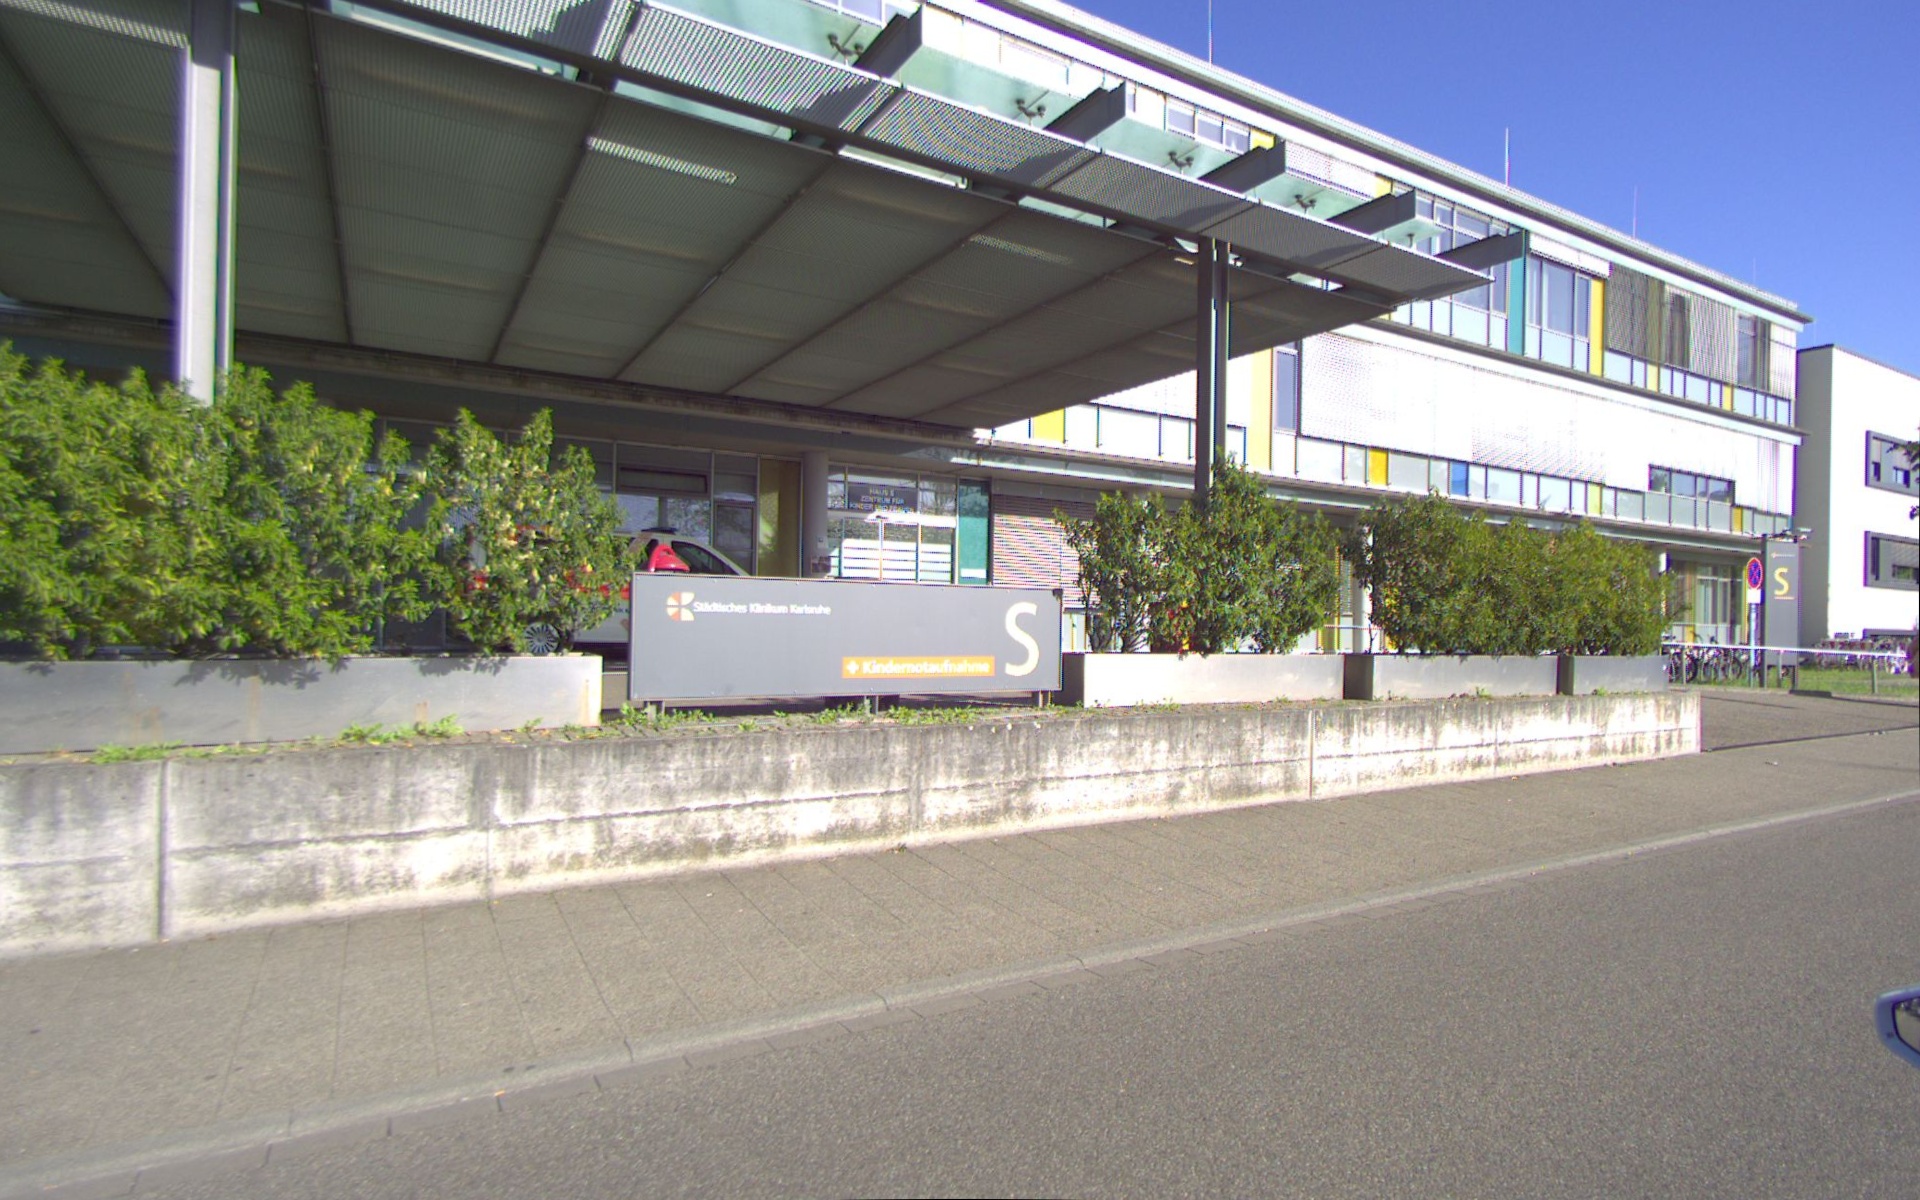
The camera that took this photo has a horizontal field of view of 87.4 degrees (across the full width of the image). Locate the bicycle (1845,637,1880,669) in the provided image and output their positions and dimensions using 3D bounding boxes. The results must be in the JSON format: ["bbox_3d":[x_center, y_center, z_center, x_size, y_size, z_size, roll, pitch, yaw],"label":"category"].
[{"bbox_3d":[28.594,1.675,31.825,1.433,1.002,0.393,1,-1,-30],"label":"bicycle"}]

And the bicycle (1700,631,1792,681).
[{"bbox_3d":[18.839,1.317,24.109,0.529,1.136,1.698,1,-1,-24],"label":"bicycle"}]

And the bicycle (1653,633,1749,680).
[{"bbox_3d":[16.885,1.270,22.926,0.530,0.986,1.706,1,-1,-31],"label":"bicycle"}]

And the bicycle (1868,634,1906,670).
[{"bbox_3d":[30.137,1.692,32.653,1.742,1.138,0.418,1,-1,-30],"label":"bicycle"}]

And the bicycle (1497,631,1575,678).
[{"bbox_3d":[14.831,1.388,25.914,0.530,1.138,1.706,1,-1,-31],"label":"bicycle"}]

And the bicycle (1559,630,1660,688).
[{"bbox_3d":[13.630,1.214,21.121,0.532,1.138,1.701,1,-1,-39],"label":"bicycle"}]

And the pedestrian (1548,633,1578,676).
[{"bbox_3d":[17.097,1.552,28.495,0.549,1.188,0.529,1,0,-29],"label":"pedestrian"}]

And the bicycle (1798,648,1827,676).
[{"bbox_3d":[28.227,2.042,33.253,1.433,0.885,0.253,1,-1,-30],"label":"bicycle"}]

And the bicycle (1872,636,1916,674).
[{"bbox_3d":[29.169,1.704,31.356,1.839,1.126,0.532,1,-1,-31],"label":"bicycle"}]

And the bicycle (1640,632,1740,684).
[{"bbox_3d":[15.898,1.238,21.912,0.530,1.069,1.706,1,-1,-31],"label":"bicycle"}]

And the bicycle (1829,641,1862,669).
[{"bbox_3d":[28.317,1.739,32.114,1.433,0.874,0.367,1,-1,-30],"label":"bicycle"}]

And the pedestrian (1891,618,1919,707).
[{"bbox_3d":[17.501,1.132,18.131,0.771,1.570,0.769,2,1,-30],"label":"pedestrian"}]

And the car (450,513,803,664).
[{"bbox_3d":[-4.866,-0.095,14.843,4.657,1.916,1.910,1,-1,-31],"label":"car"}]

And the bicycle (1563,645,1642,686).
[{"bbox_3d":[17.097,1.729,26.764,0.530,1.007,1.706,1,-1,-31],"label":"bicycle"}]
